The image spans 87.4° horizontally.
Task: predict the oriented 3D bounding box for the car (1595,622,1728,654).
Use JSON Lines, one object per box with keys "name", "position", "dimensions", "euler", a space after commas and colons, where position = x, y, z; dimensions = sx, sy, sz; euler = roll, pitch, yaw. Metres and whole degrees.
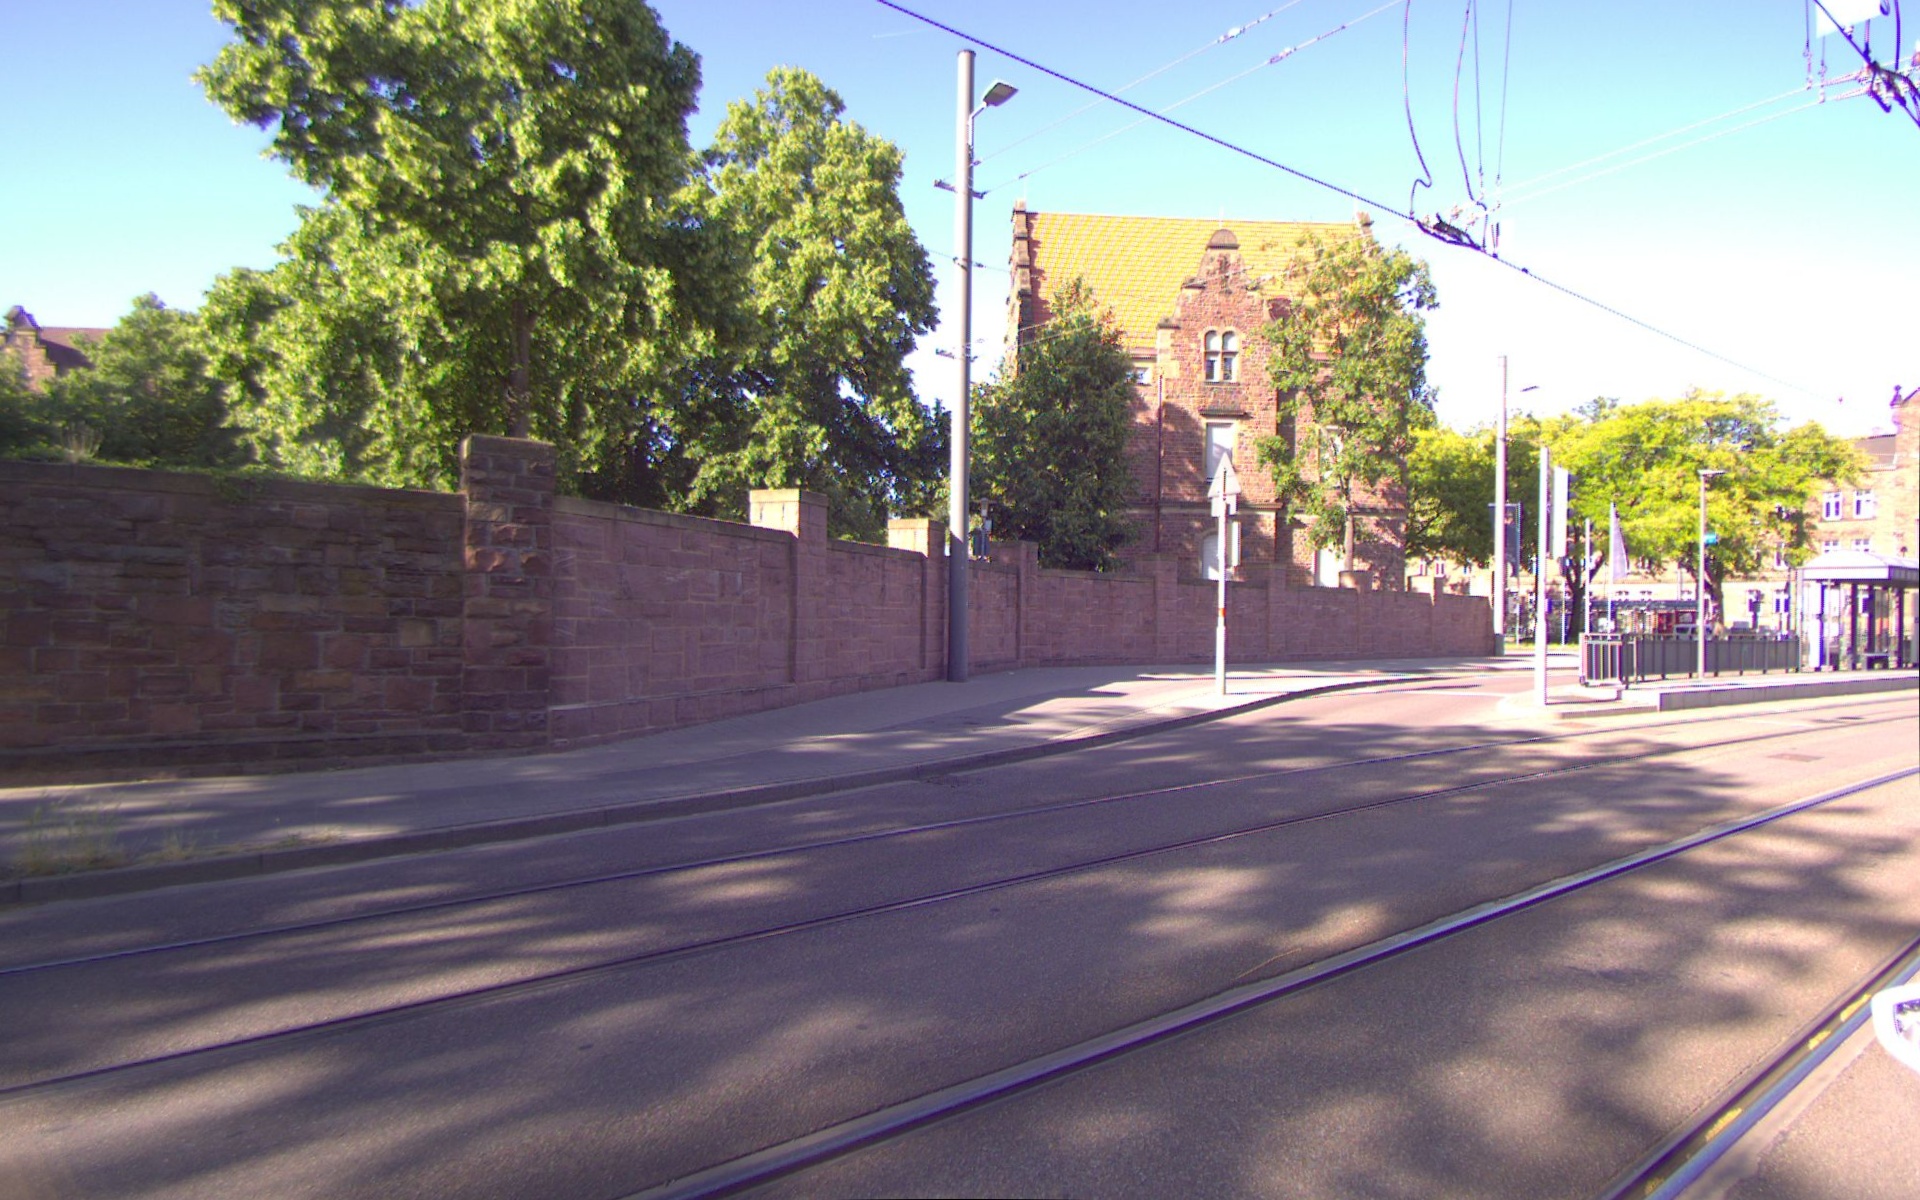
{"name": "car", "position": [47.927, 2.582, 68.807], "dimensions": [2.957, 1.946, 6.915], "euler": [1, -1, -30]}
